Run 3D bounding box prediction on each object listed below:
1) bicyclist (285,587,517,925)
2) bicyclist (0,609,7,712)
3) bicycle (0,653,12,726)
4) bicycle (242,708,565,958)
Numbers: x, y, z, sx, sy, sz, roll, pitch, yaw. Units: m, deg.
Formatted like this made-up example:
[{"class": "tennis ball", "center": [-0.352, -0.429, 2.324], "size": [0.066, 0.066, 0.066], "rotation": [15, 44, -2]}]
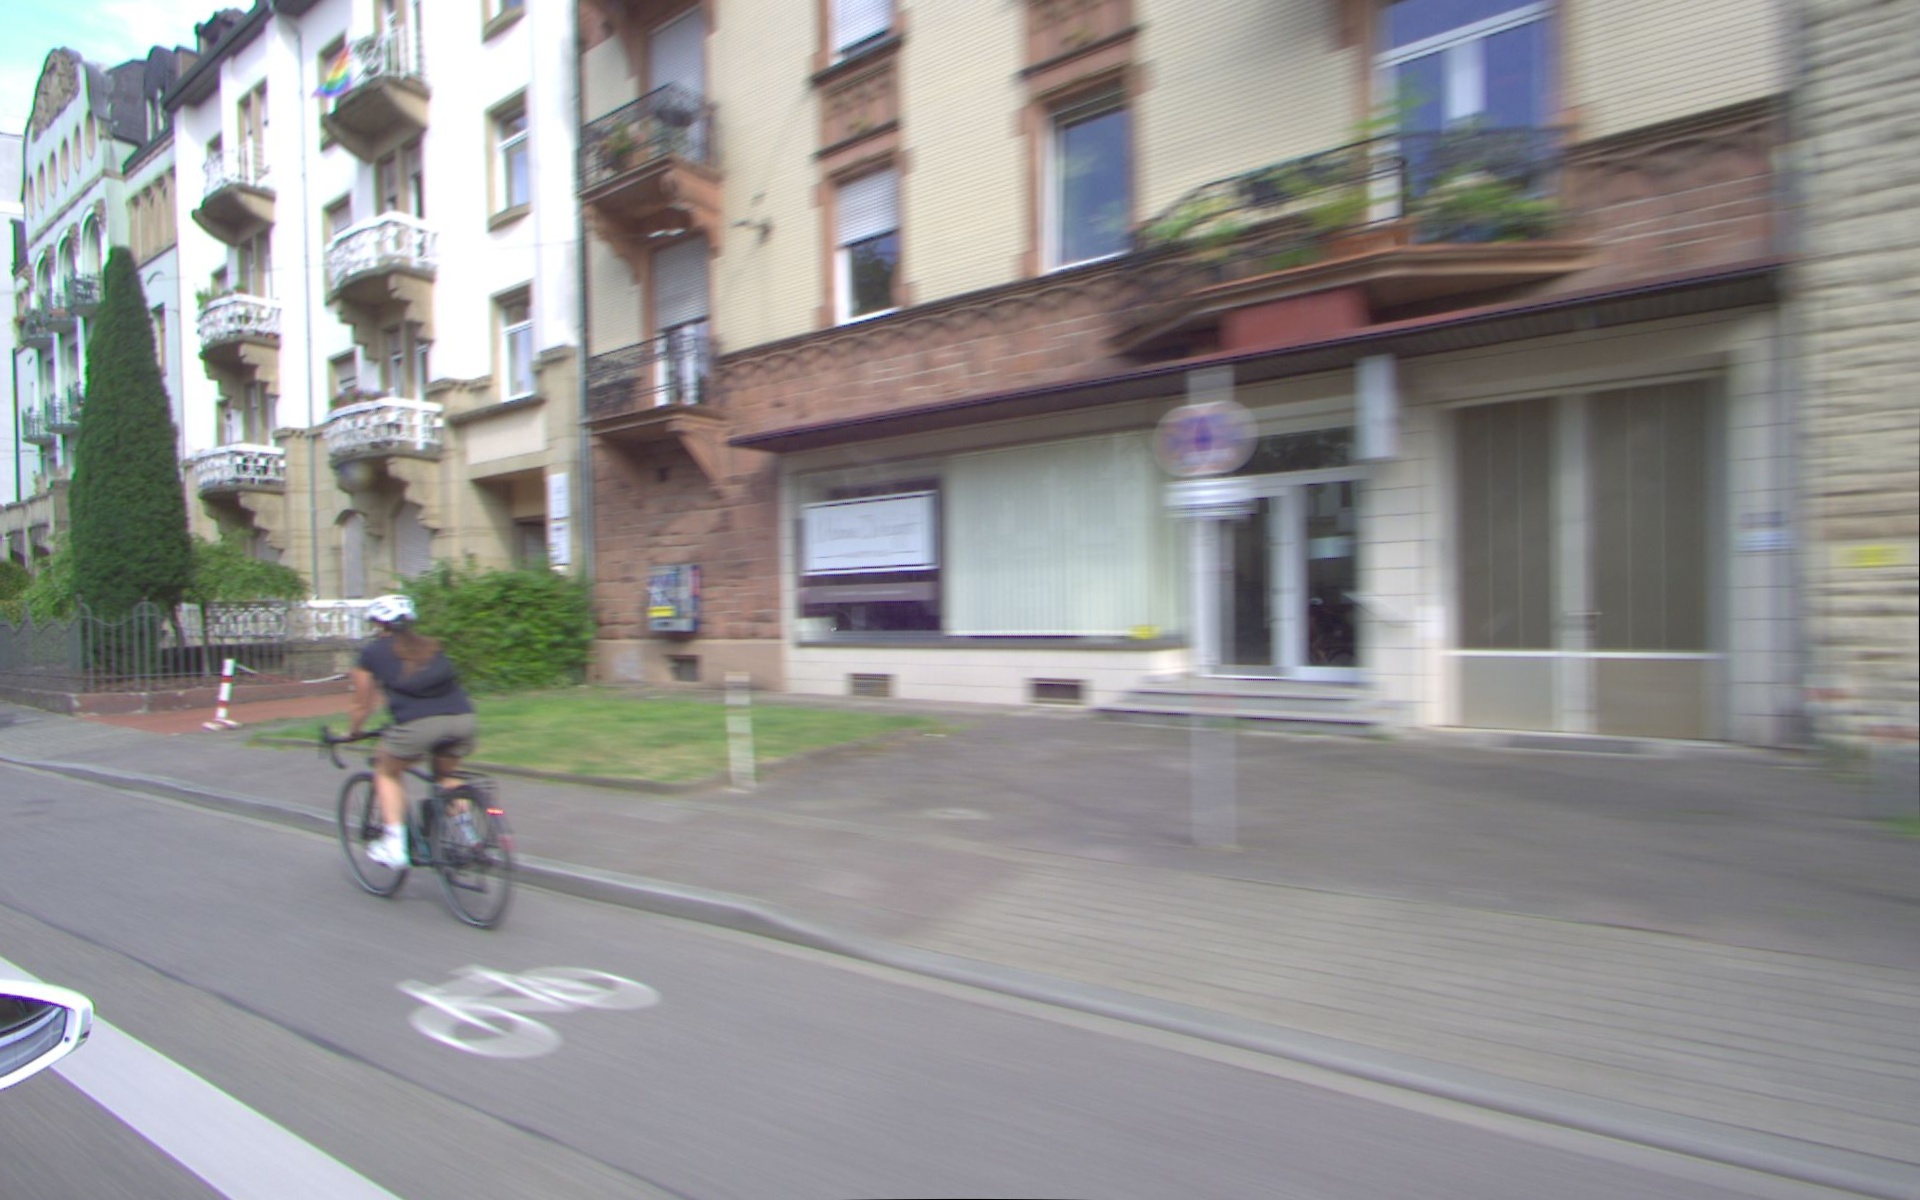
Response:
[{"class": "bicyclist", "center": [-2.957, 0.754, 5.289], "size": [1.095, 1.590, 0.637], "rotation": [-1, -1, 34]}, {"class": "bicyclist", "center": [-13.897, 0.834, 14.011], "size": [0.791, 1.490, 0.644], "rotation": [0, 3, 38]}, {"class": "bicycle", "center": [-14.054, 1.246, 14.146], "size": [2.011, 0.975, 0.685], "rotation": [-1, 0, 39]}, {"class": "bicycle", "center": [-3.005, 1.131, 5.319], "size": [2.043, 0.993, 0.637], "rotation": [-1, -2, 34]}]
